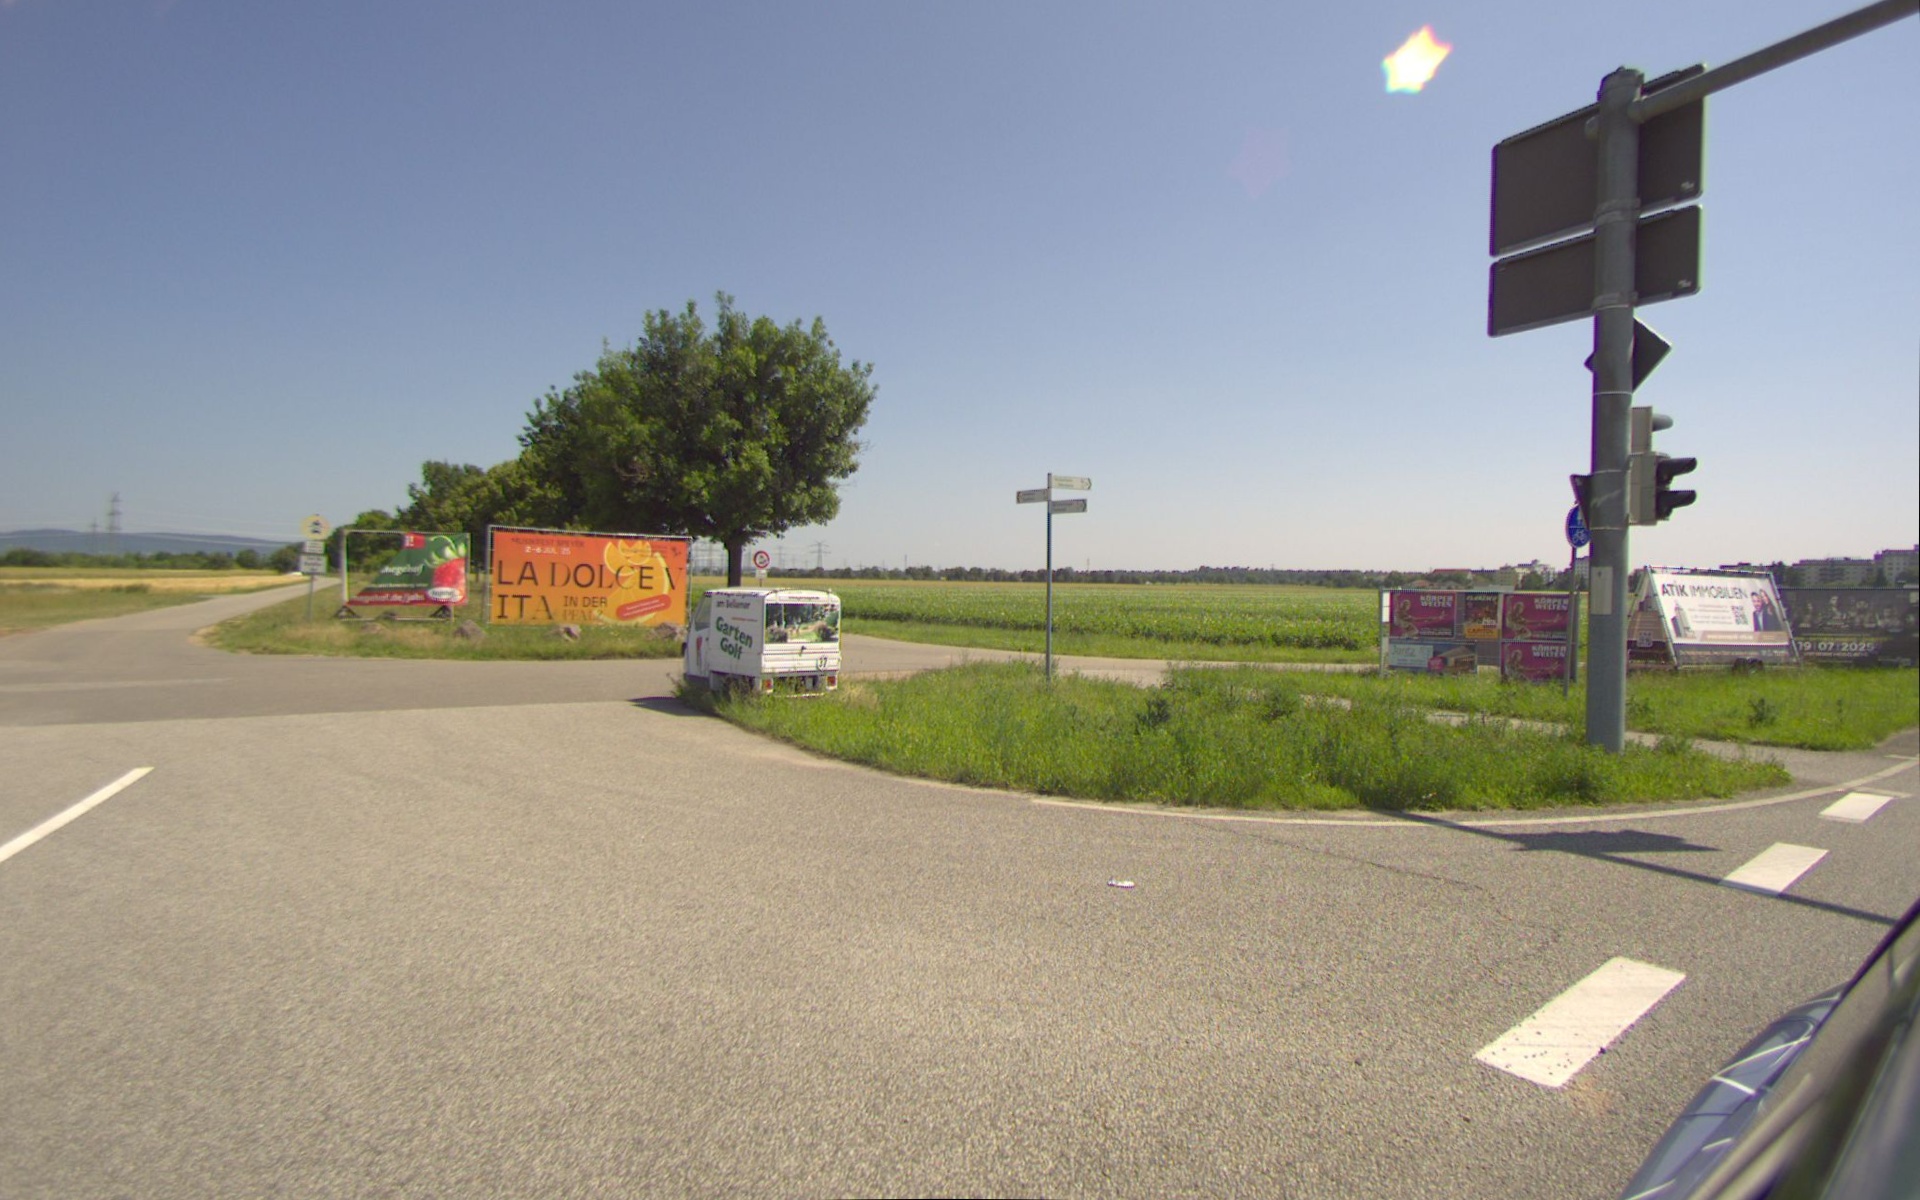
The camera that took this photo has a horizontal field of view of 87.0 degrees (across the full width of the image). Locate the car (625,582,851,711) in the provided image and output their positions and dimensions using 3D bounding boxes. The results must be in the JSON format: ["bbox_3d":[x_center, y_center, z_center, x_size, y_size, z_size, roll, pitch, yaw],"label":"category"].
[{"bbox_3d":[-3.053,0.522,13.568,3.336,1.518,1.378,1,1,44],"label":"car"}]

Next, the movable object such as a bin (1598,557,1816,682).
[{"bbox_3d":[15.429,0.347,20.888,4.332,2.393,1.529,-1,0,-22],"label":"movable object such as a bin"}]
